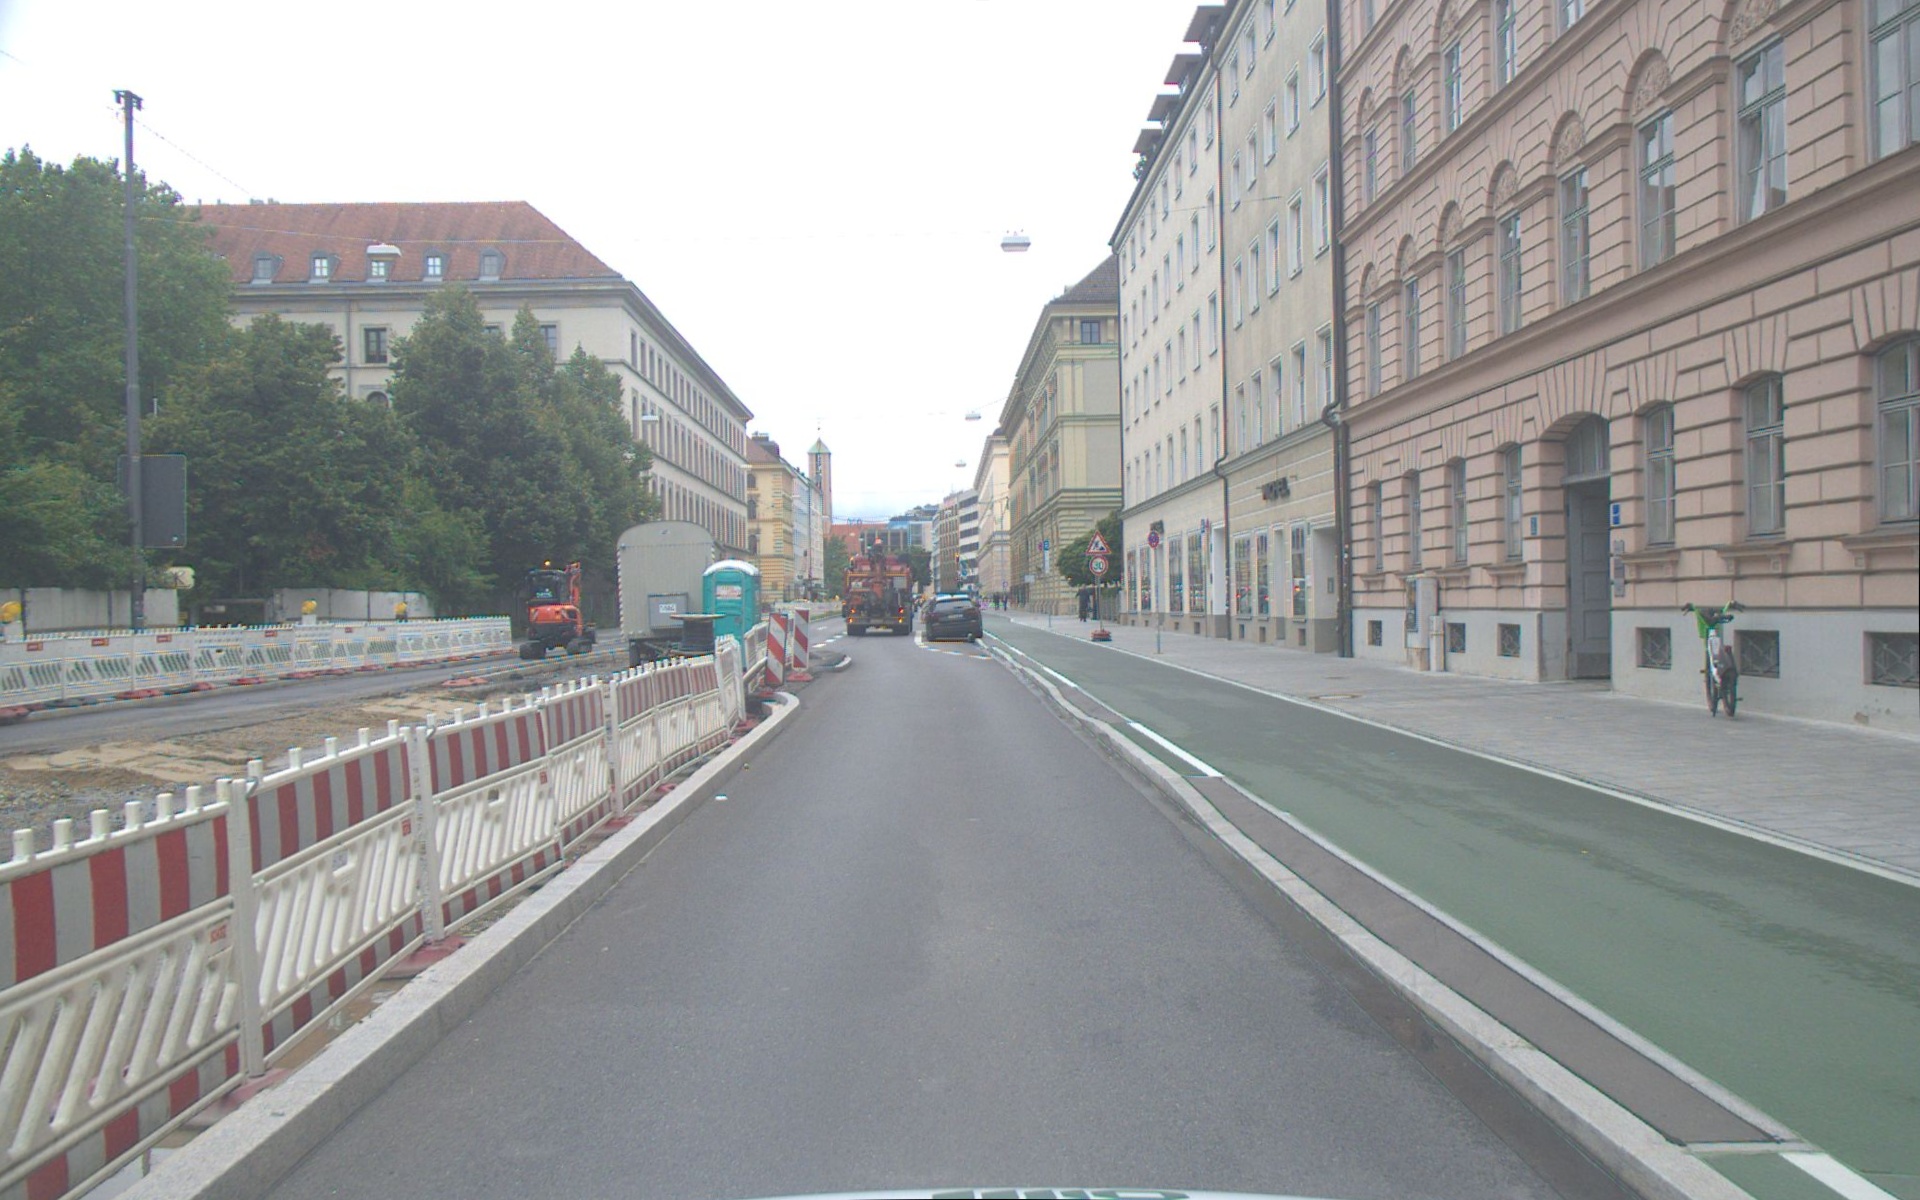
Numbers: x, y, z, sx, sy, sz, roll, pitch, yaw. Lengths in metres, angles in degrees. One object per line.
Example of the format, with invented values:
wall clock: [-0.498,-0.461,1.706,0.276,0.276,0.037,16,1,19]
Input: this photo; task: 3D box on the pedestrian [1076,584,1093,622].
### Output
pedestrian: [6.248,0.131,83.010,0.774,1.868,0.777,-1,0,0]

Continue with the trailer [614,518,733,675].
trailer: [-6.630,-0.093,39.095,2.184,3.300,7.509,-1,0,-6]

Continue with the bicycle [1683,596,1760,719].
bicycle: [7.960,0.573,17.335,0.417,1.194,1.733,-2,0,16]

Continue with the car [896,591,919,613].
car: [-3.652,0.136,115.113,1.577,1.521,3.423,-1,0,-1]

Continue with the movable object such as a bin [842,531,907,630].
movable object such as a bin: [-3.321,-0.742,65.046,2.375,3.674,5.849,-1,0,-2]

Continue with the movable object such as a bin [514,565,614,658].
movable object such as a bin: [-11.753,0.305,49.382,1.884,2.617,4.492,-1,1,0]

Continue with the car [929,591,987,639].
car: [-0.120,0.481,56.431,1.765,1.505,4.685,-2,0,-2]
